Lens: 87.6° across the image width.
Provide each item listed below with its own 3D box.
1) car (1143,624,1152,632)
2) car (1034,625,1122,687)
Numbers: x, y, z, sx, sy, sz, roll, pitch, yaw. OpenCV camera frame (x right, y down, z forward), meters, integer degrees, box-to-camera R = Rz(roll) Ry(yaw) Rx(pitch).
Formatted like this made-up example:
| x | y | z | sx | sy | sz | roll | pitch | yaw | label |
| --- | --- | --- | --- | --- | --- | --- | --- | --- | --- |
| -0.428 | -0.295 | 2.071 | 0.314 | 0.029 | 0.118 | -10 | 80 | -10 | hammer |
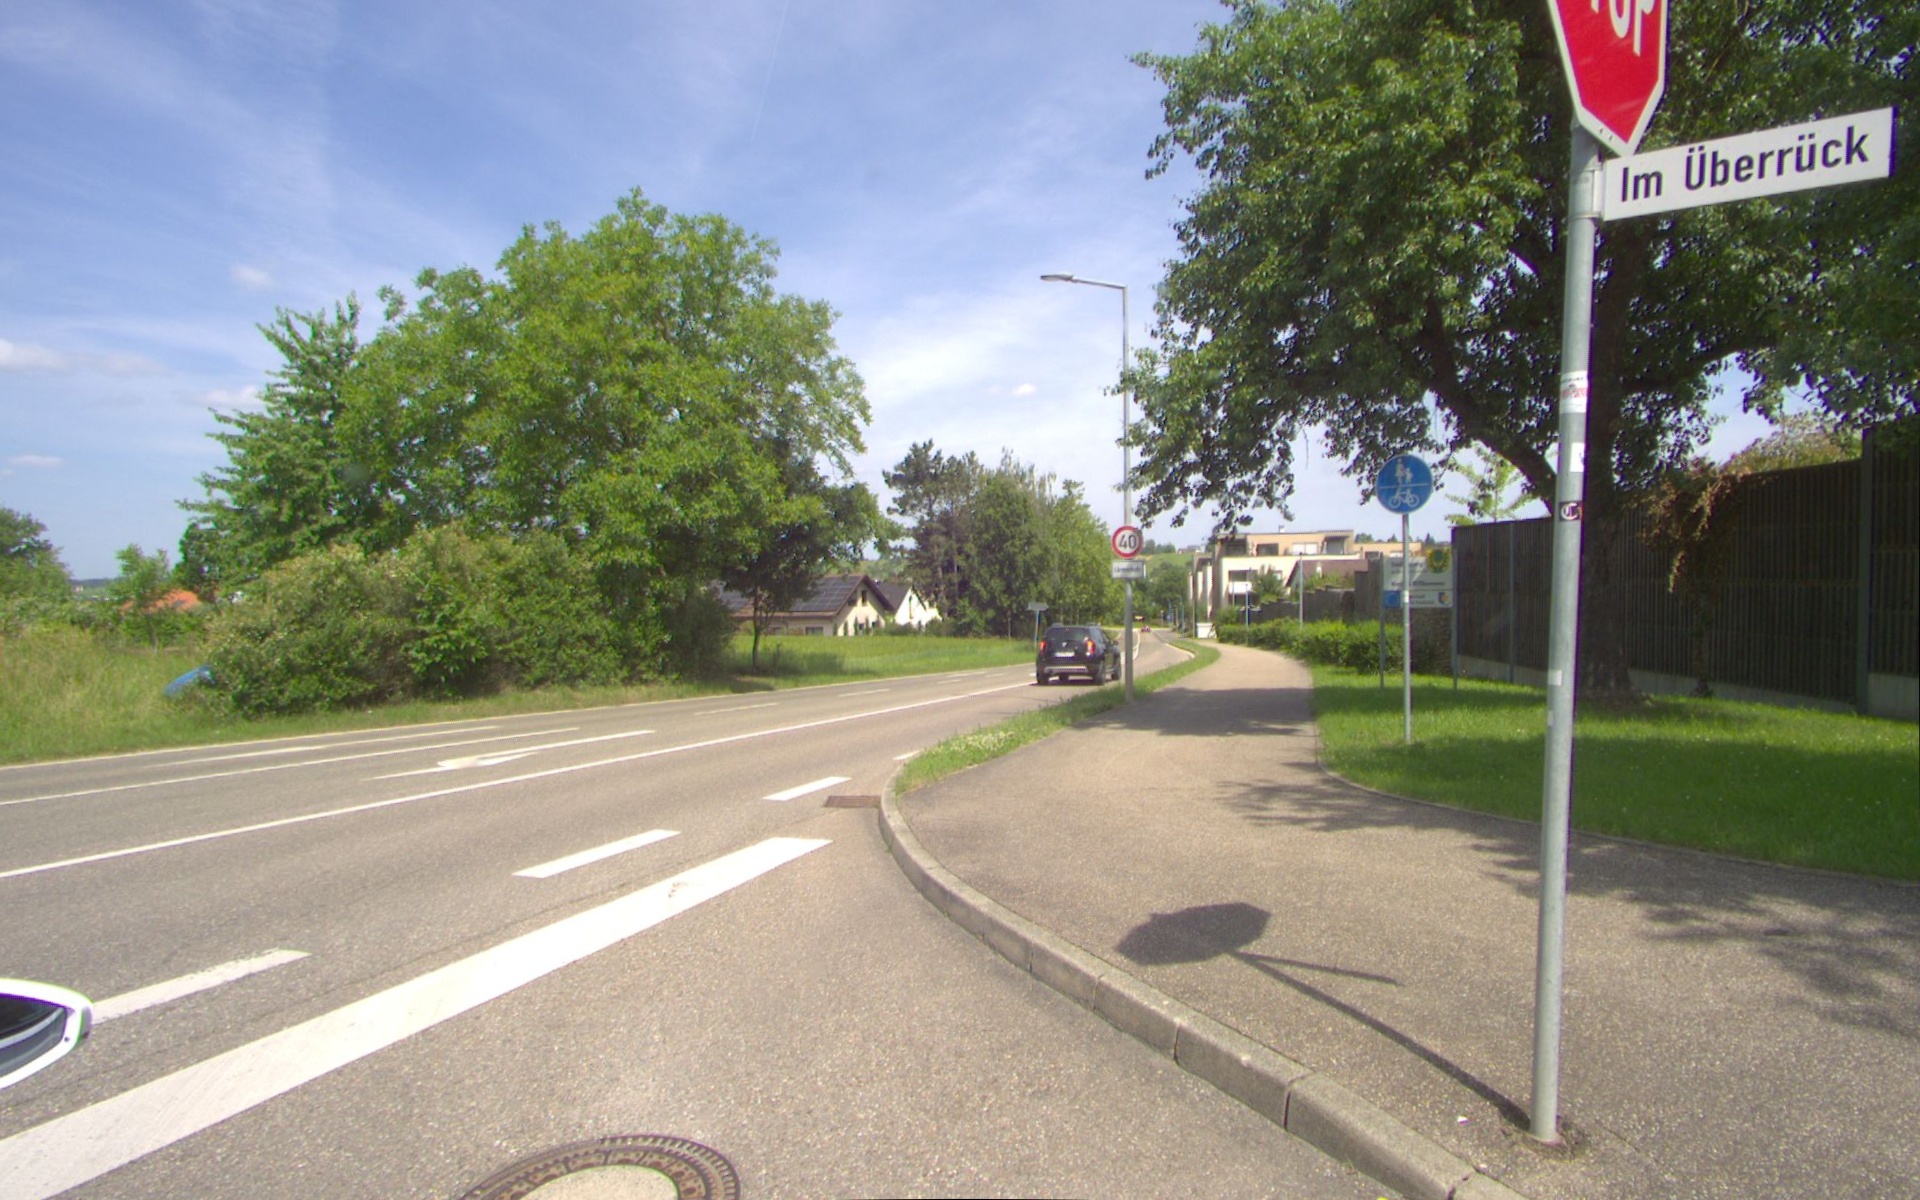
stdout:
| x | y | z | sx | sy | sz | roll | pitch | yaw | label |
| --- | --- | --- | --- | --- | --- | --- | --- | --- | --- |
| 35.214 | 5.281 | 188.239 | 1.625 | 1.623 | 3.796 | 0 | -2 | 9 | car |
| 3.387 | 1.525 | 28.132 | 1.797 | 1.601 | 3.996 | 0 | -2 | 17 | car |
